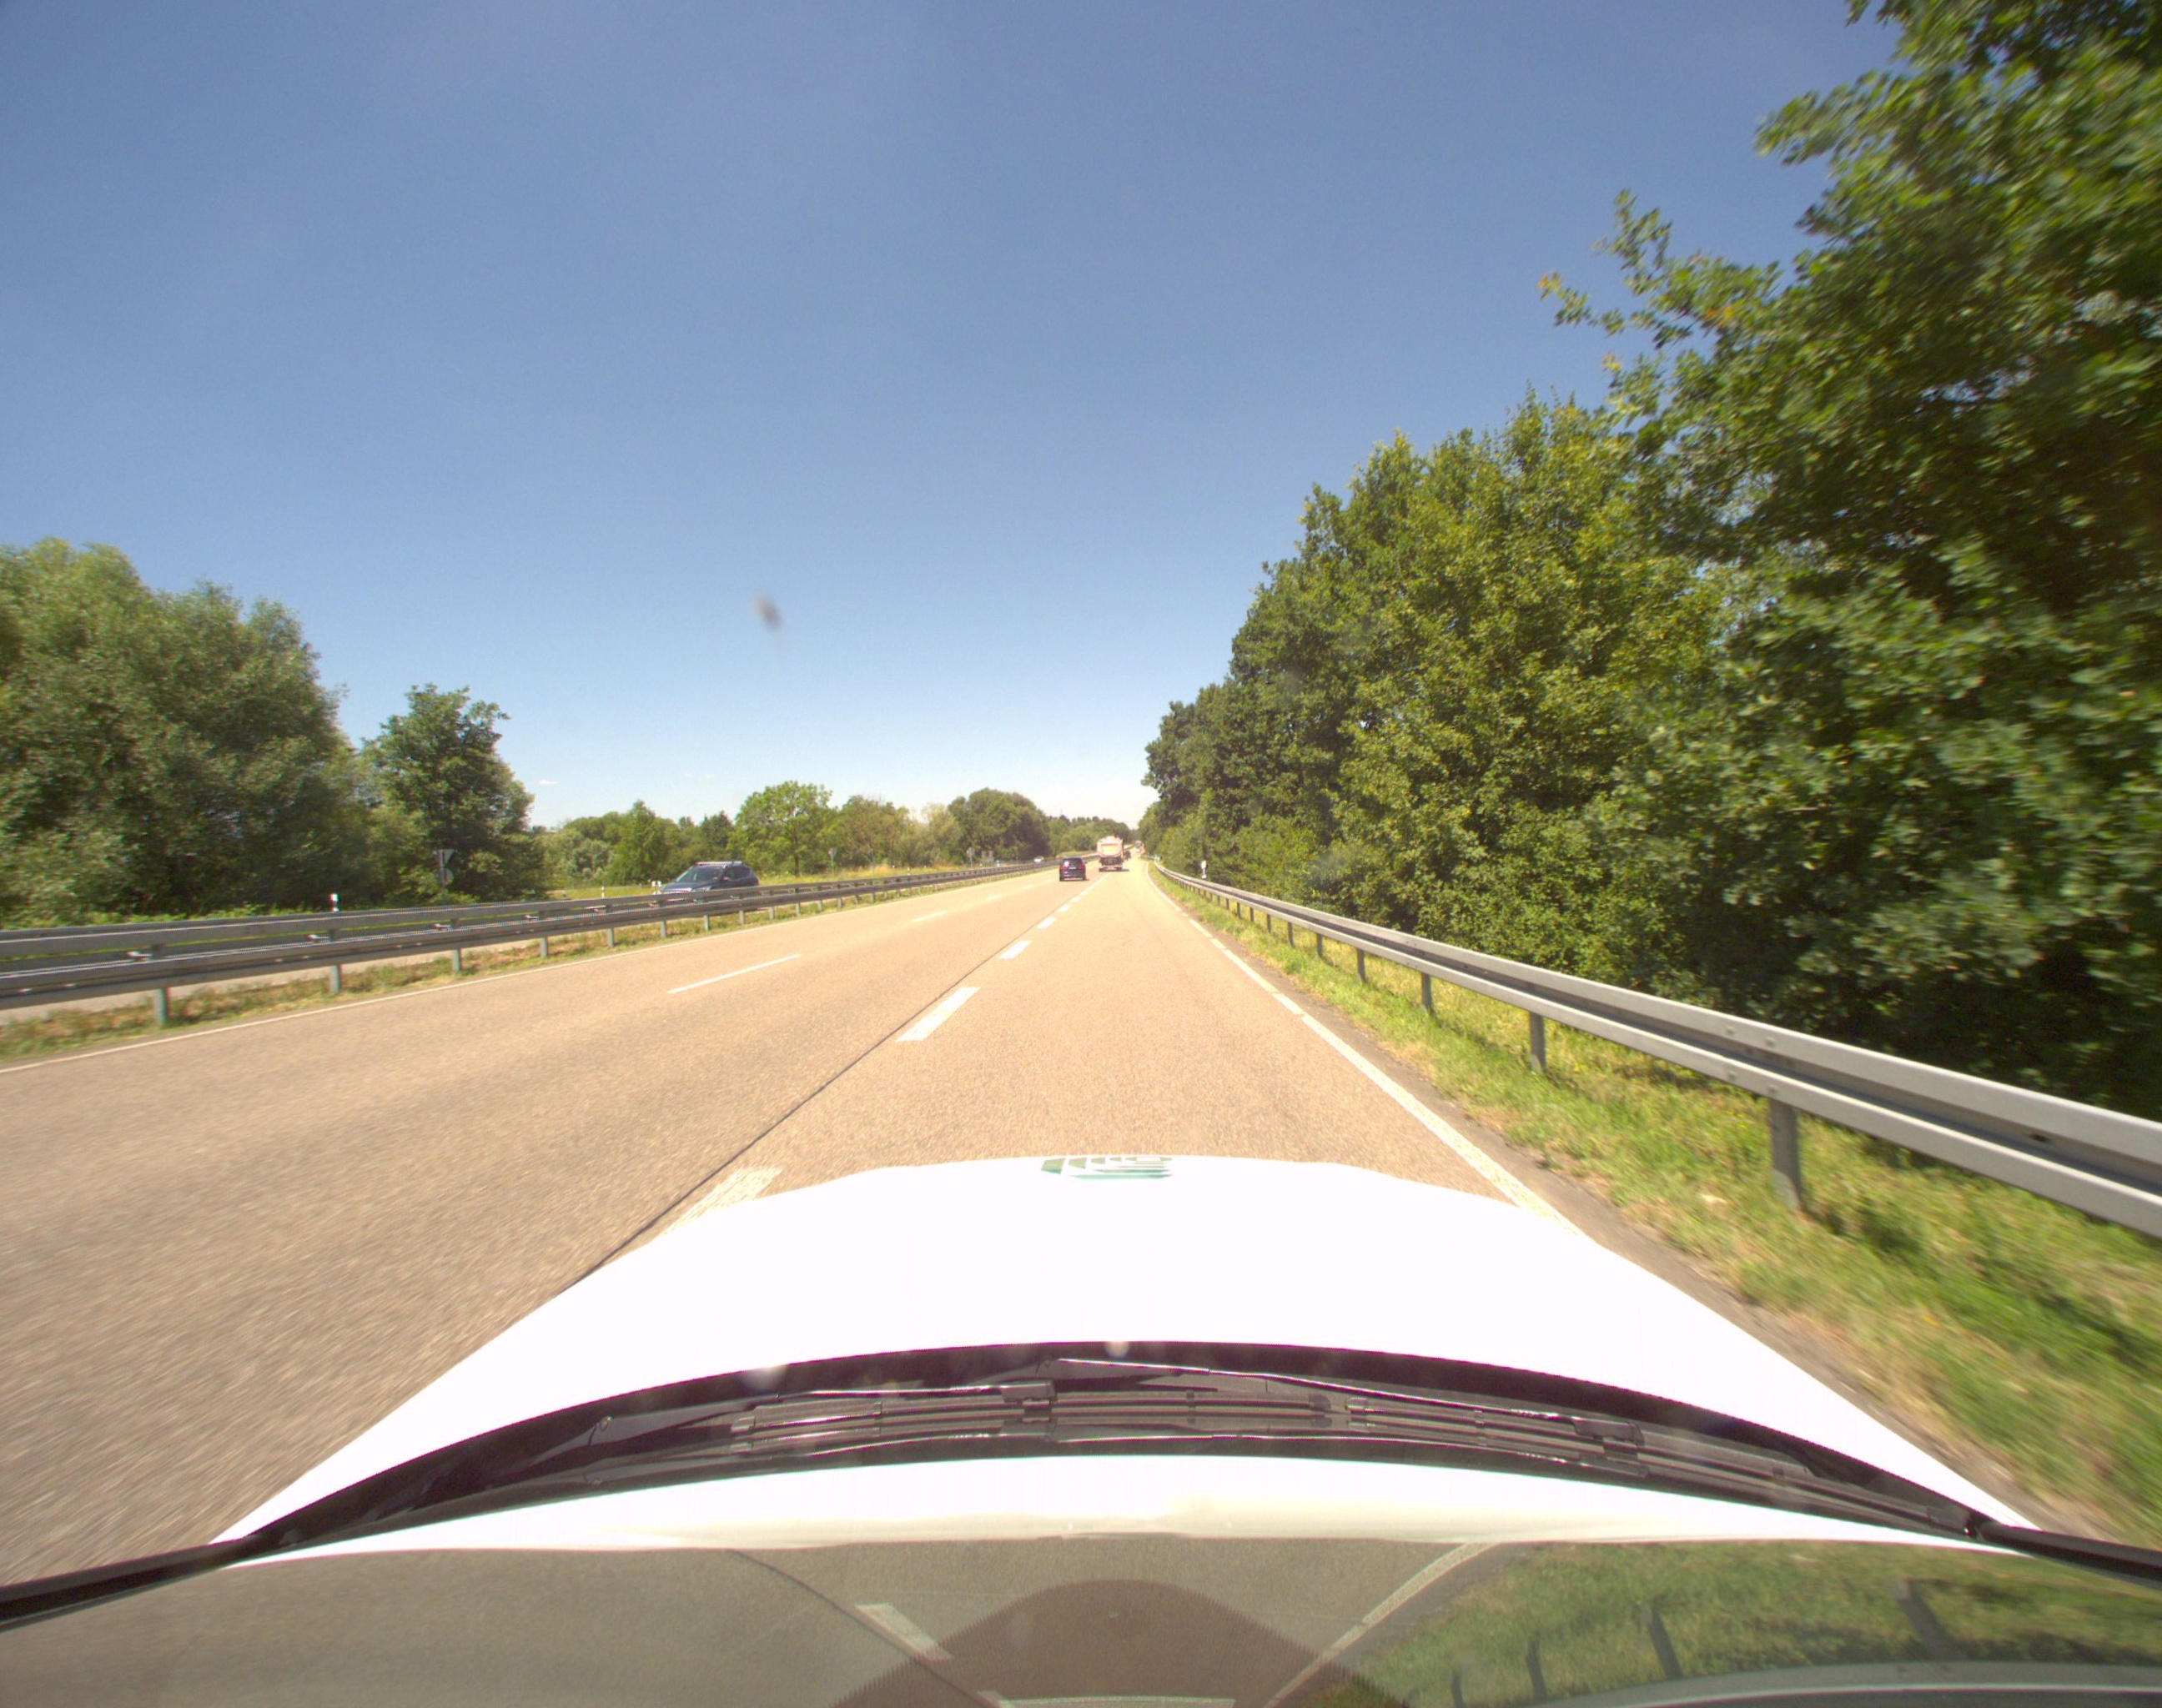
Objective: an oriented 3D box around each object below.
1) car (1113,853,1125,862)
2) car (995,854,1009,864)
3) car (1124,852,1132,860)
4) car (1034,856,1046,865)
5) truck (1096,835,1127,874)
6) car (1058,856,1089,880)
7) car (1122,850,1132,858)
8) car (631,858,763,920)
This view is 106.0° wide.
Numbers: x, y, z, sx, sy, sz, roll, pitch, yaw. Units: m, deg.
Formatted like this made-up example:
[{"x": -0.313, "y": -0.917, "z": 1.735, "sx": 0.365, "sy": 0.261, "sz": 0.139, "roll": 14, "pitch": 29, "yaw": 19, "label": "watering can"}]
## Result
[{"x": 6.795, "y": 0.627, "z": 145.845, "sx": 1.849, "sy": 1.671, "sz": 4.005, "roll": -2, "pitch": -1, "yaw": 5, "label": "car"}, {"x": -12.335, "y": 0.871, "z": 127.359, "sx": 1.912, "sy": 1.489, "sz": 3.998, "roll": -1, "pitch": -1, "yaw": -1, "label": "car"}, {"x": 10.821, "y": 0.464, "z": 187.554, "sx": 1.849, "sy": 1.671, "sz": 4.005, "roll": -2, "pitch": -1, "yaw": 5, "label": "car"}, {"x": -8.586, "y": 1.328, "z": 169.920, "sx": 1.716, "sy": 1.645, "sz": 4.949, "roll": -1, "pitch": 0, "yaw": 5, "label": "car"}, {"x": 3.520, "y": -0.033, "z": 89.976, "sx": 2.707, "sy": 3.929, "sz": 12.388, "roll": -2, "pitch": 1, "yaw": 5, "label": "truck"}, {"x": -0.523, "y": 1.004, "z": 58.959, "sx": 1.849, "sy": 1.671, "sz": 4.005, "roll": -2, "pitch": -1, "yaw": 5, "label": "car"}, {"x": 9.521, "y": 0.043, "z": 168.134, "sx": 1.849, "sy": 1.671, "sz": 4.005, "roll": -2, "pitch": -1, "yaw": 5, "label": "car"}, {"x": -12.531, "y": 1.073, "z": 26.987, "sx": 1.854, "sy": 1.830, "sz": 4.665, "roll": -2, "pitch": -1, "yaw": 4, "label": "car"}]
